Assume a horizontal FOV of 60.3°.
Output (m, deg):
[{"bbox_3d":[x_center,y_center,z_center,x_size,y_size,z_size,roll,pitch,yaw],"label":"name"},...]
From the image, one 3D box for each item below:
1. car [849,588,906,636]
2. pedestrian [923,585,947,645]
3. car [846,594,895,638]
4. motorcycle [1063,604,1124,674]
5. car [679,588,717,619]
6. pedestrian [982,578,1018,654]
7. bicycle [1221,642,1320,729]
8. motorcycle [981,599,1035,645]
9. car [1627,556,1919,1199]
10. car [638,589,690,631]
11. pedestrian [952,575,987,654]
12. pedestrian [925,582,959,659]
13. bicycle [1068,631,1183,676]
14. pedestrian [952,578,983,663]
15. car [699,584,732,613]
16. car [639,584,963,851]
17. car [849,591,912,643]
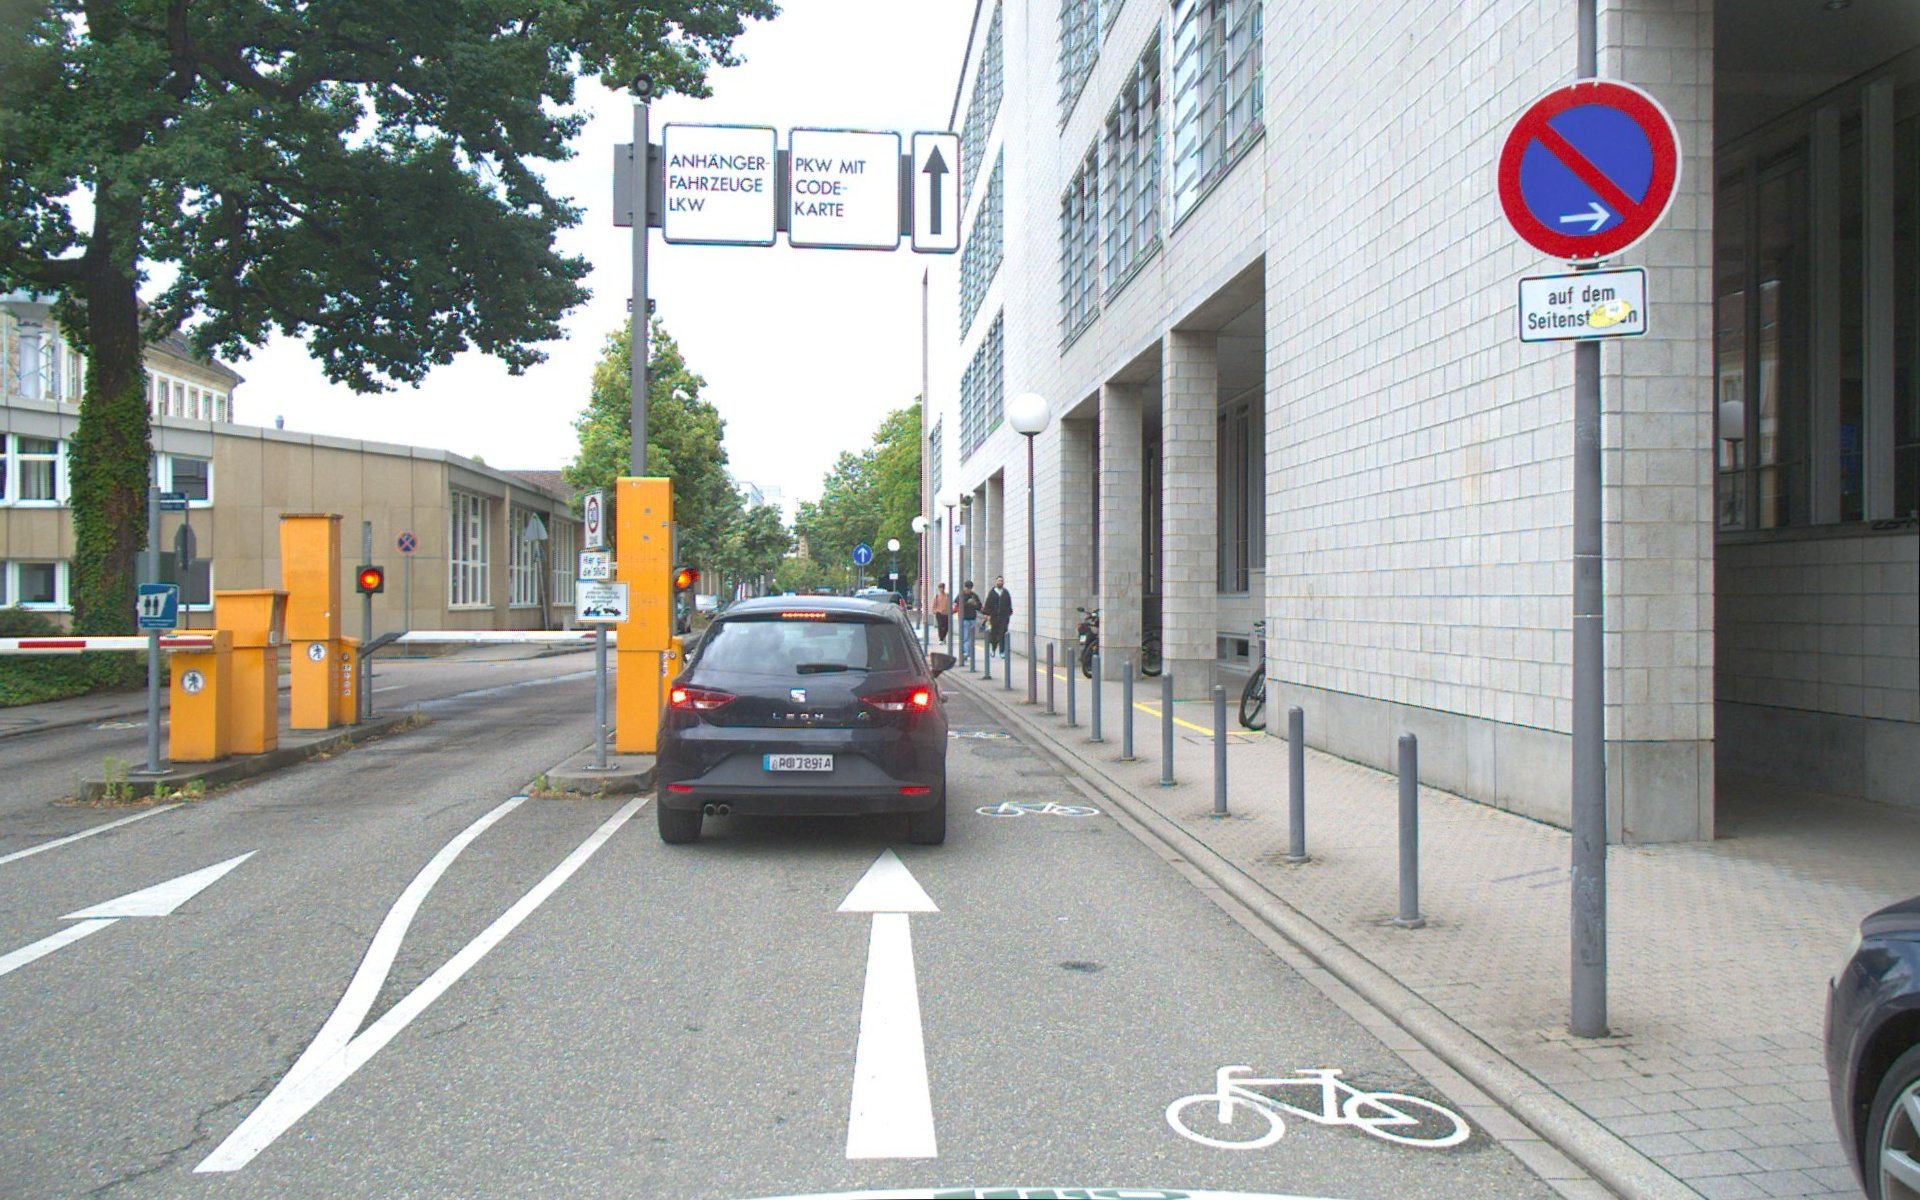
[{"bbox_3d":[-3.067,0.418,60.704,1.954,1.651,4.424,-2,0,-4],"label":"car"},{"bbox_3d":[-0.722,0.442,48.486,0.682,1.744,0.489,0,0,0],"label":"pedestrian"},{"bbox_3d":[-3.959,0.674,72.579,1.955,1.813,4.424,-2,0,-5],"label":"car"},{"bbox_3d":[2.527,0.701,31.048,0.554,1.168,2.218,2,2,20],"label":"motorcycle"},{"bbox_3d":[-14.258,0.176,90.139,1.735,1.629,3.996,0,0,-5],"label":"car"},{"bbox_3d":[0.924,0.368,38.267,0.714,1.728,0.587,1,2,-10],"label":"pedestrian"},{"bbox_3d":[3.379,0.896,17.847,0.453,0.764,2.293,-4,-1,25],"label":"bicycle"},{"bbox_3d":[1.392,0.609,47.632,0.743,1.168,2.664,2,2,20],"label":"motorcycle"},{"bbox_3d":[2.899,0.646,1.954,1.954,1.477,4.918,0,0,-4],"label":"car"},{"bbox_3d":[-12.031,0.390,67.474,1.736,1.629,3.996,0,0,-5],"label":"car"},{"bbox_3d":[0.209,0.320,37.067,0.676,1.728,0.587,1,2,-7],"label":"pedestrian"},{"bbox_3d":[-0.411,0.464,37.651,0.683,1.744,0.488,0,0,-10],"label":"pedestrian"},{"bbox_3d":[2.791,0.900,27.931,1.861,0.711,0.492,1,2,-8],"label":"bicycle"},{"bbox_3d":[0.160,0.428,34.395,0.599,1.744,0.574,-1,0,-3],"label":"pedestrian"},{"bbox_3d":[-14.124,-0.078,95.666,1.736,1.629,3.995,0,0,-6],"label":"car"},{"bbox_3d":[-1.030,0.628,11.087,1.747,1.444,4.125,0,0,-5],"label":"car"},{"bbox_3d":[-2.736,0.583,56.190,1.955,1.651,4.423,-1,0,-5],"label":"car"}]
